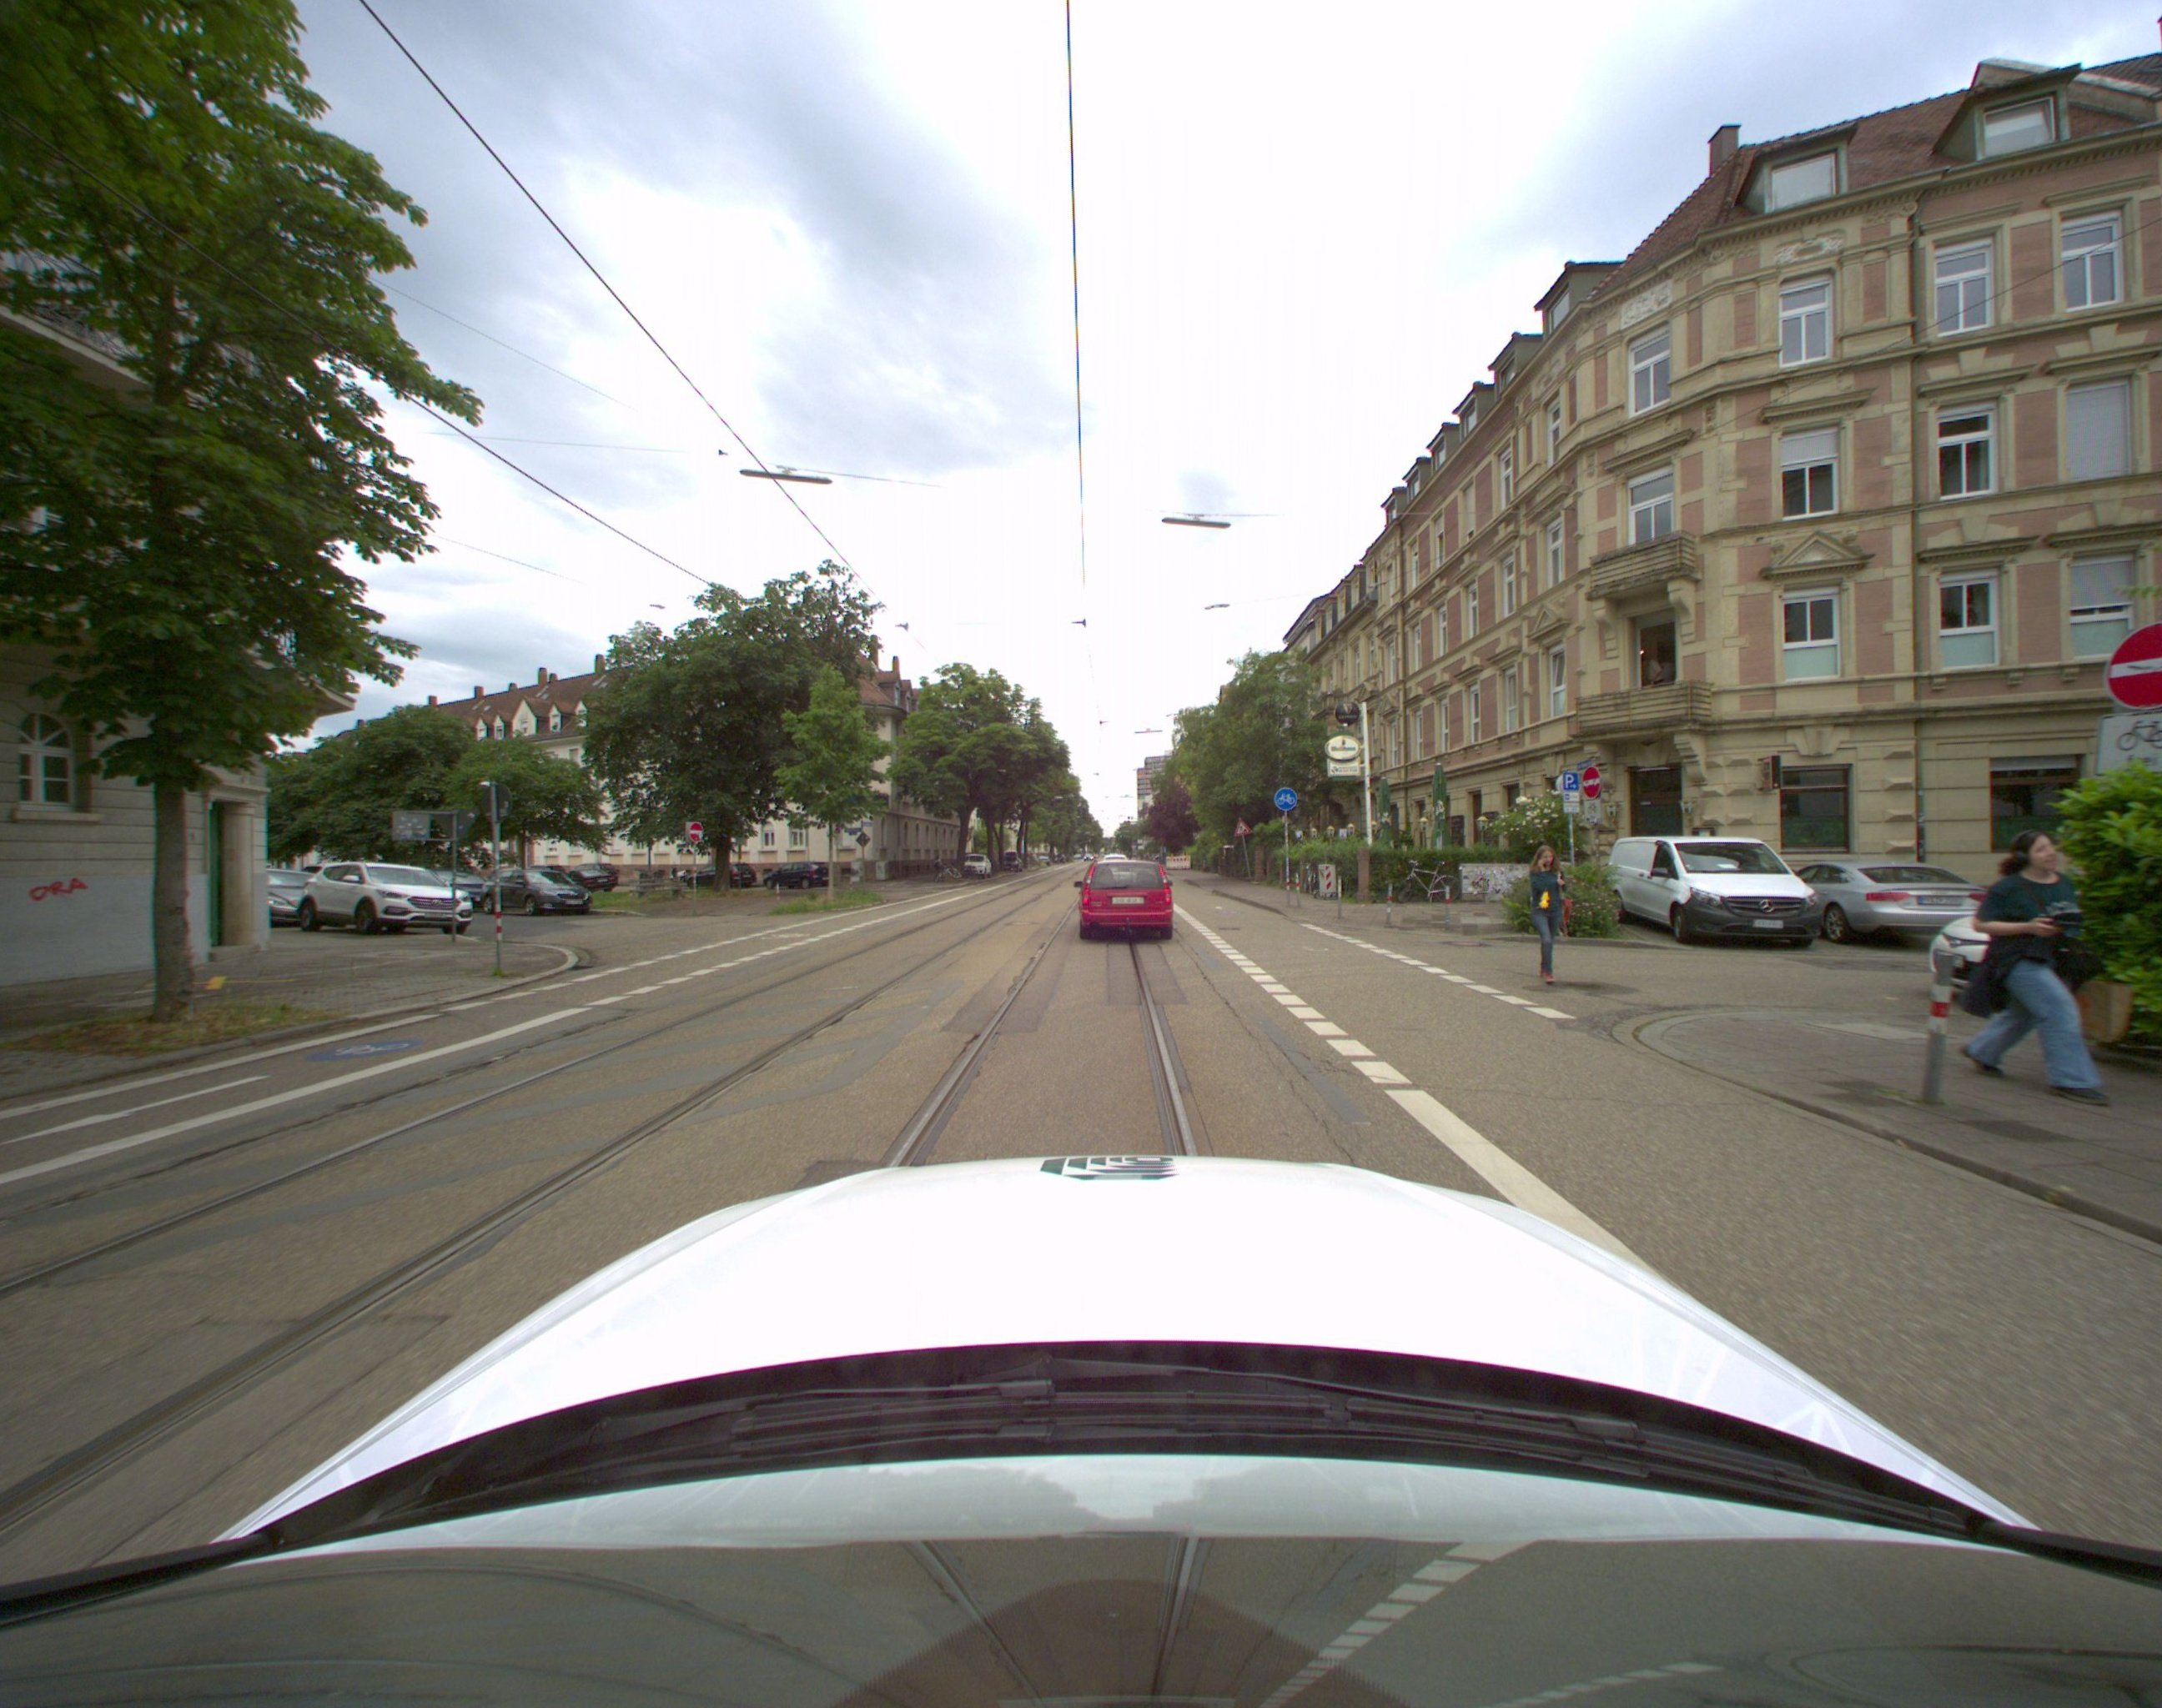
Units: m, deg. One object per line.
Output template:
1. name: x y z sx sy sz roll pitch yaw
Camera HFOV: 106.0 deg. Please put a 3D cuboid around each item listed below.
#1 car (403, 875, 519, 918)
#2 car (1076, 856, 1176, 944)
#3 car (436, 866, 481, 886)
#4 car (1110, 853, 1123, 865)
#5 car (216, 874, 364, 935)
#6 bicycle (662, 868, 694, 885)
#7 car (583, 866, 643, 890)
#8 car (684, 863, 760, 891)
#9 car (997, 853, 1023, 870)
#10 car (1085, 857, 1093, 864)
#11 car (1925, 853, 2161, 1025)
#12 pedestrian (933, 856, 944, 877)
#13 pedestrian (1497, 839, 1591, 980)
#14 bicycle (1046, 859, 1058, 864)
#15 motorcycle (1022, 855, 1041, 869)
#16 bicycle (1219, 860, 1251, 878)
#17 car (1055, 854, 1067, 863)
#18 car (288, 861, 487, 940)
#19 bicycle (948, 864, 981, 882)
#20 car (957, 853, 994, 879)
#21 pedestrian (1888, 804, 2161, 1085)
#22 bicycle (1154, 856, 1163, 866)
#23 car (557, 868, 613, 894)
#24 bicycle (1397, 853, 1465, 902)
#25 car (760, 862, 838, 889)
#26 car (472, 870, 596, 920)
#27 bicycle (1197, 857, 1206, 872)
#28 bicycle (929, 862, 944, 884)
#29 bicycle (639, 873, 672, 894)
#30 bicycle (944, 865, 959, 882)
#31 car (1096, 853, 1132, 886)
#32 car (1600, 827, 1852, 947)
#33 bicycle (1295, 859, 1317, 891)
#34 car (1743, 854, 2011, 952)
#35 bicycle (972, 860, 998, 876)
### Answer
1. car: -21.455 1.425 28.158 3.959 1.346 1.675 0 0 28
2. car: 0.819 0.780 15.509 1.682 1.441 3.744 0 0 2
3. car: -45.864 1.602 60.029 3.270 1.430 1.397 -1 0 28
4. car: 5.189 0.705 118.822 1.736 1.606 3.999 -1 0 0
5. car: -21.690 1.327 22.317 3.997 1.513 1.749 0 -2 28
6. bicycle: -25.665 1.442 51.854 2.163 1.035 0.657 -1 0 28
7. car: -29.631 1.482 51.566 3.455 1.441 1.685 -1 0 28
8. car: -20.015 1.289 45.383 3.896 1.464 1.716 -1 0 24
9. car: -6.366 0.664 73.647 1.770 1.511 4.240 0 0 3
10. car: 1.688 1.345 170.406 1.749 1.380 4.027 -1 0 1
11. car: 10.567 0.721 7.331 3.774 1.430 1.681 -1 1 24
12. pedestrian: -9.839 0.862 56.315 0.562 1.467 0.723 -1 0 2
13. pedestrian: 5.739 0.653 10.153 0.865 1.656 0.913 -1 0 21
14. bicycle: -4.482 1.161 126.126 1.741 0.844 0.684 -1 0 2
15. motorcycle: -5.822 0.958 95.782 2.243 1.511 0.932 -1 -2 37
16. bicycle: 9.429 0.896 49.805 1.834 1.076 0.606 -1 0 1
17. car: -3.497 0.726 140.708 1.844 1.563 3.944 -1 0 2
18. car: -16.416 1.043 19.261 4.460 1.663 1.950 -1 0 26
19. bicycle: -7.268 1.172 50.912 1.915 1.121 0.624 1 0 1
20. car: -7.066 0.796 54.902 1.890 1.655 4.226 0 0 1
21. pedestrian: 6.043 0.557 5.275 0.786 1.636 0.840 -2 -3 18
22. bicycle: 12.309 1.157 129.912 0.909 1.507 2.392 -1 0 19
23. car: -26.074 1.416 42.822 2.929 1.299 1.365 -1 0 33
24. bicycle: 9.310 0.630 21.709 1.593 1.277 0.515 -1 0 13
25. car: -14.882 1.132 42.969 3.715 1.307 1.751 -1 0 25
26. car: -17.327 1.246 25.755 4.018 1.410 1.672 0 0 30
27. bicycle: 8.629 0.743 58.445 0.477 1.045 1.532 -1 0 2
28. bicycle: -8.210 1.076 46.119 0.675 1.136 1.927 -1 1 -14
29. bicycle: -19.077 1.311 36.505 1.653 0.925 0.451 -1 0 29
30. bicycle: -7.244 1.083 45.547 0.481 0.958 1.399 -1 0 4
31. car: 1.733 0.755 42.082 1.711 1.625 3.945 -1 0 4
32. car: 11.736 0.511 15.356 2.036 1.877 5.052 -1 0 17
33. bicycle: 7.612 0.689 27.622 0.300 1.041 1.849 -1 0 2
34. car: 13.767 0.749 14.448 1.683 1.366 4.017 -1 1 16
35. bicycle: -7.096 1.032 60.181 1.730 1.192 0.655 1 0 16
